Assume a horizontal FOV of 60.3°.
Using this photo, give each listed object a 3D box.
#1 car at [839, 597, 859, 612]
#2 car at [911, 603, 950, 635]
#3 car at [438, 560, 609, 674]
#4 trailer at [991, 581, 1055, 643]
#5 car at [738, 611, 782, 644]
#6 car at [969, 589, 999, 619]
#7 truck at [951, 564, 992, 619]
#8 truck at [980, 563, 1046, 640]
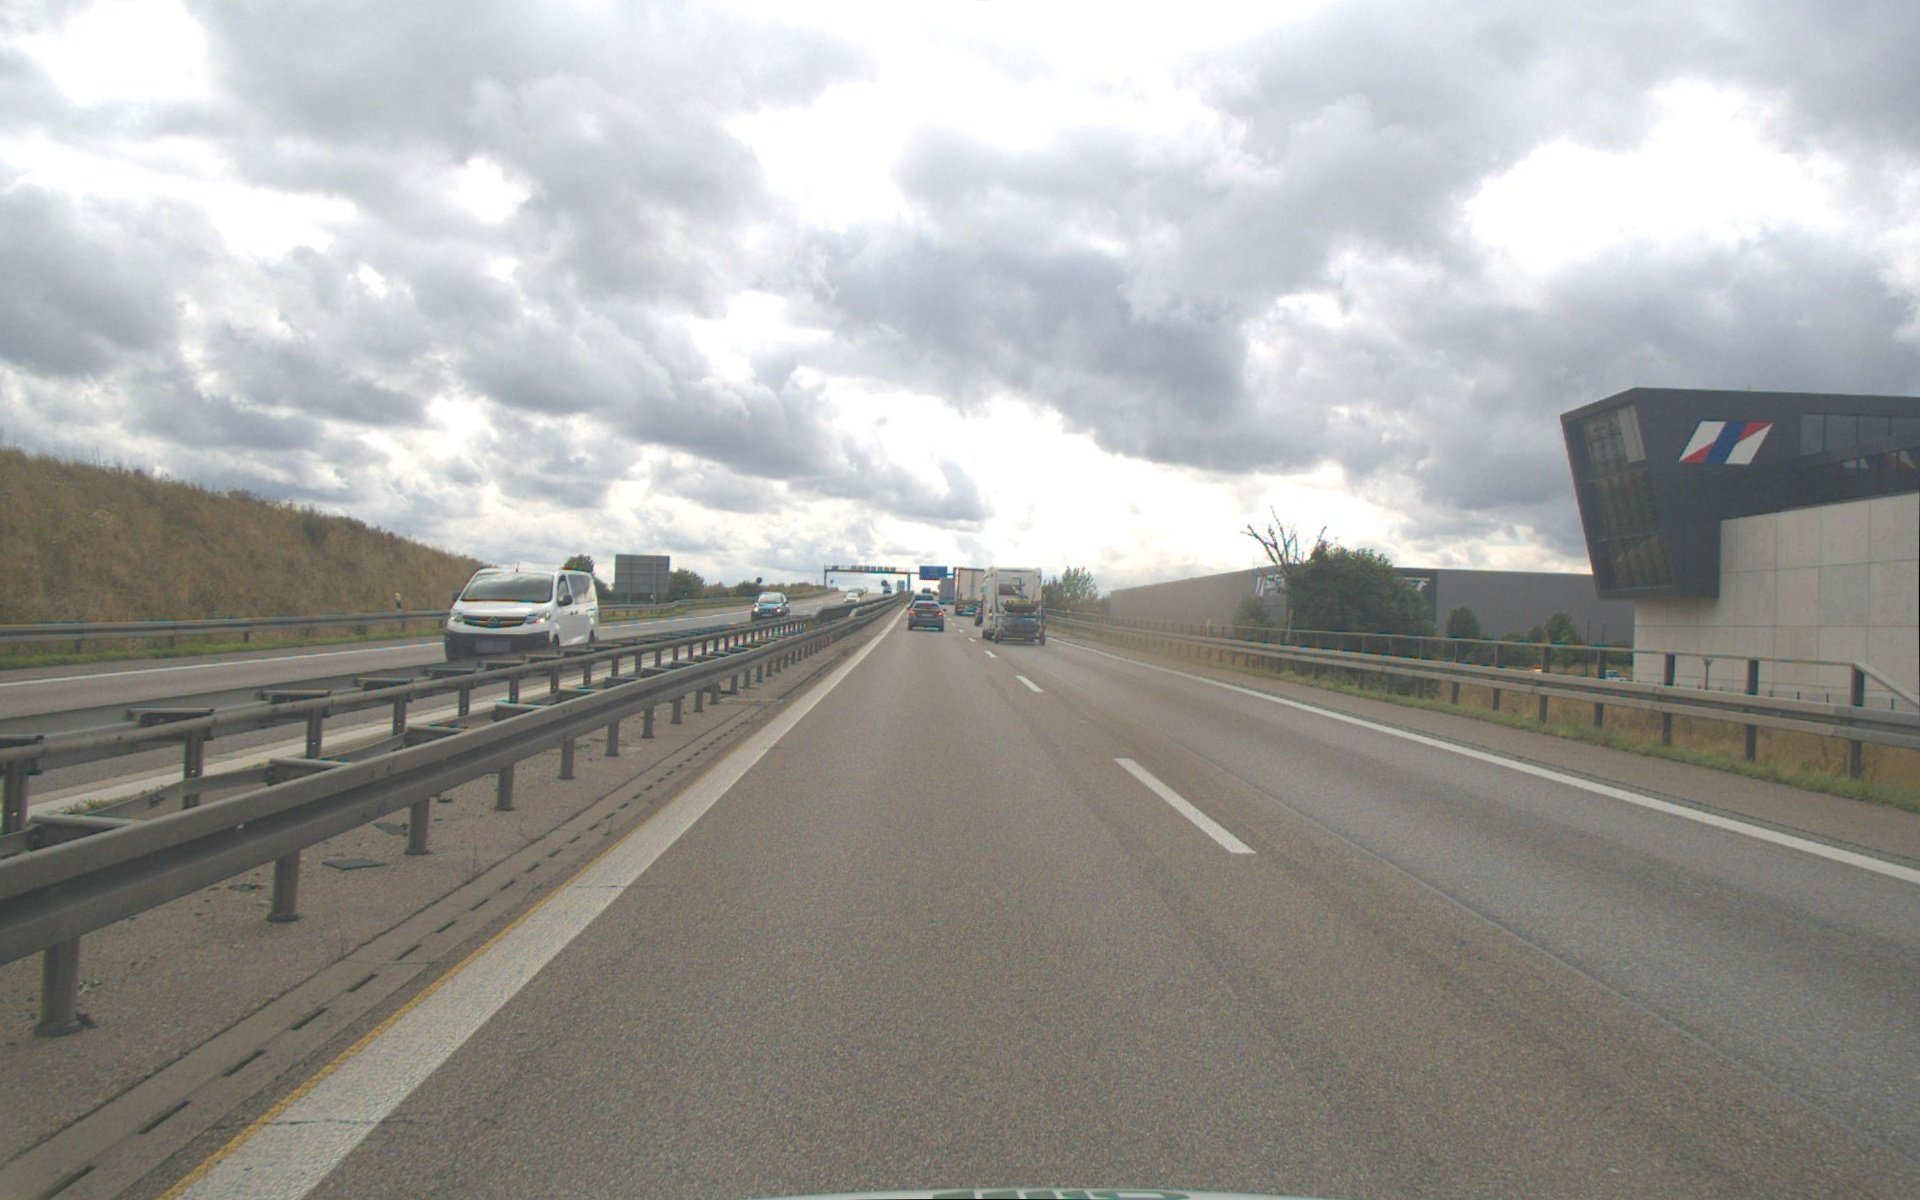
[{"bbox_3d":[-11.836,0.496,176.026,1.868,1.540,4.728,1,-1,-1],"label":"car"},{"bbox_3d":[-1.422,0.940,81.642,1.710,1.478,4.000,1,-1,1],"label":"car"},{"bbox_3d":[-8.045,0.329,31.029,1.791,1.918,5.417,1,-1,-1],"label":"car"},{"bbox_3d":[2.324,0.462,61.780,2.290,2.174,4.000,1,-1,1],"label":"trailer"},{"bbox_3d":[-10.106,1.387,83.825,1.804,1.604,3.999,1,-1,-1],"label":"car"},{"bbox_3d":[1.499,0.254,101.512,1.764,1.714,4.000,1,-1,1],"label":"car"},{"bbox_3d":[0.969,-0.667,144.715,3.271,4.614,8.015,1,-1,-1],"label":"truck"},{"bbox_3d":[2.144,0.105,68.963,2.431,3.002,5.813,1,-1,-1],"label":"truck"}]
